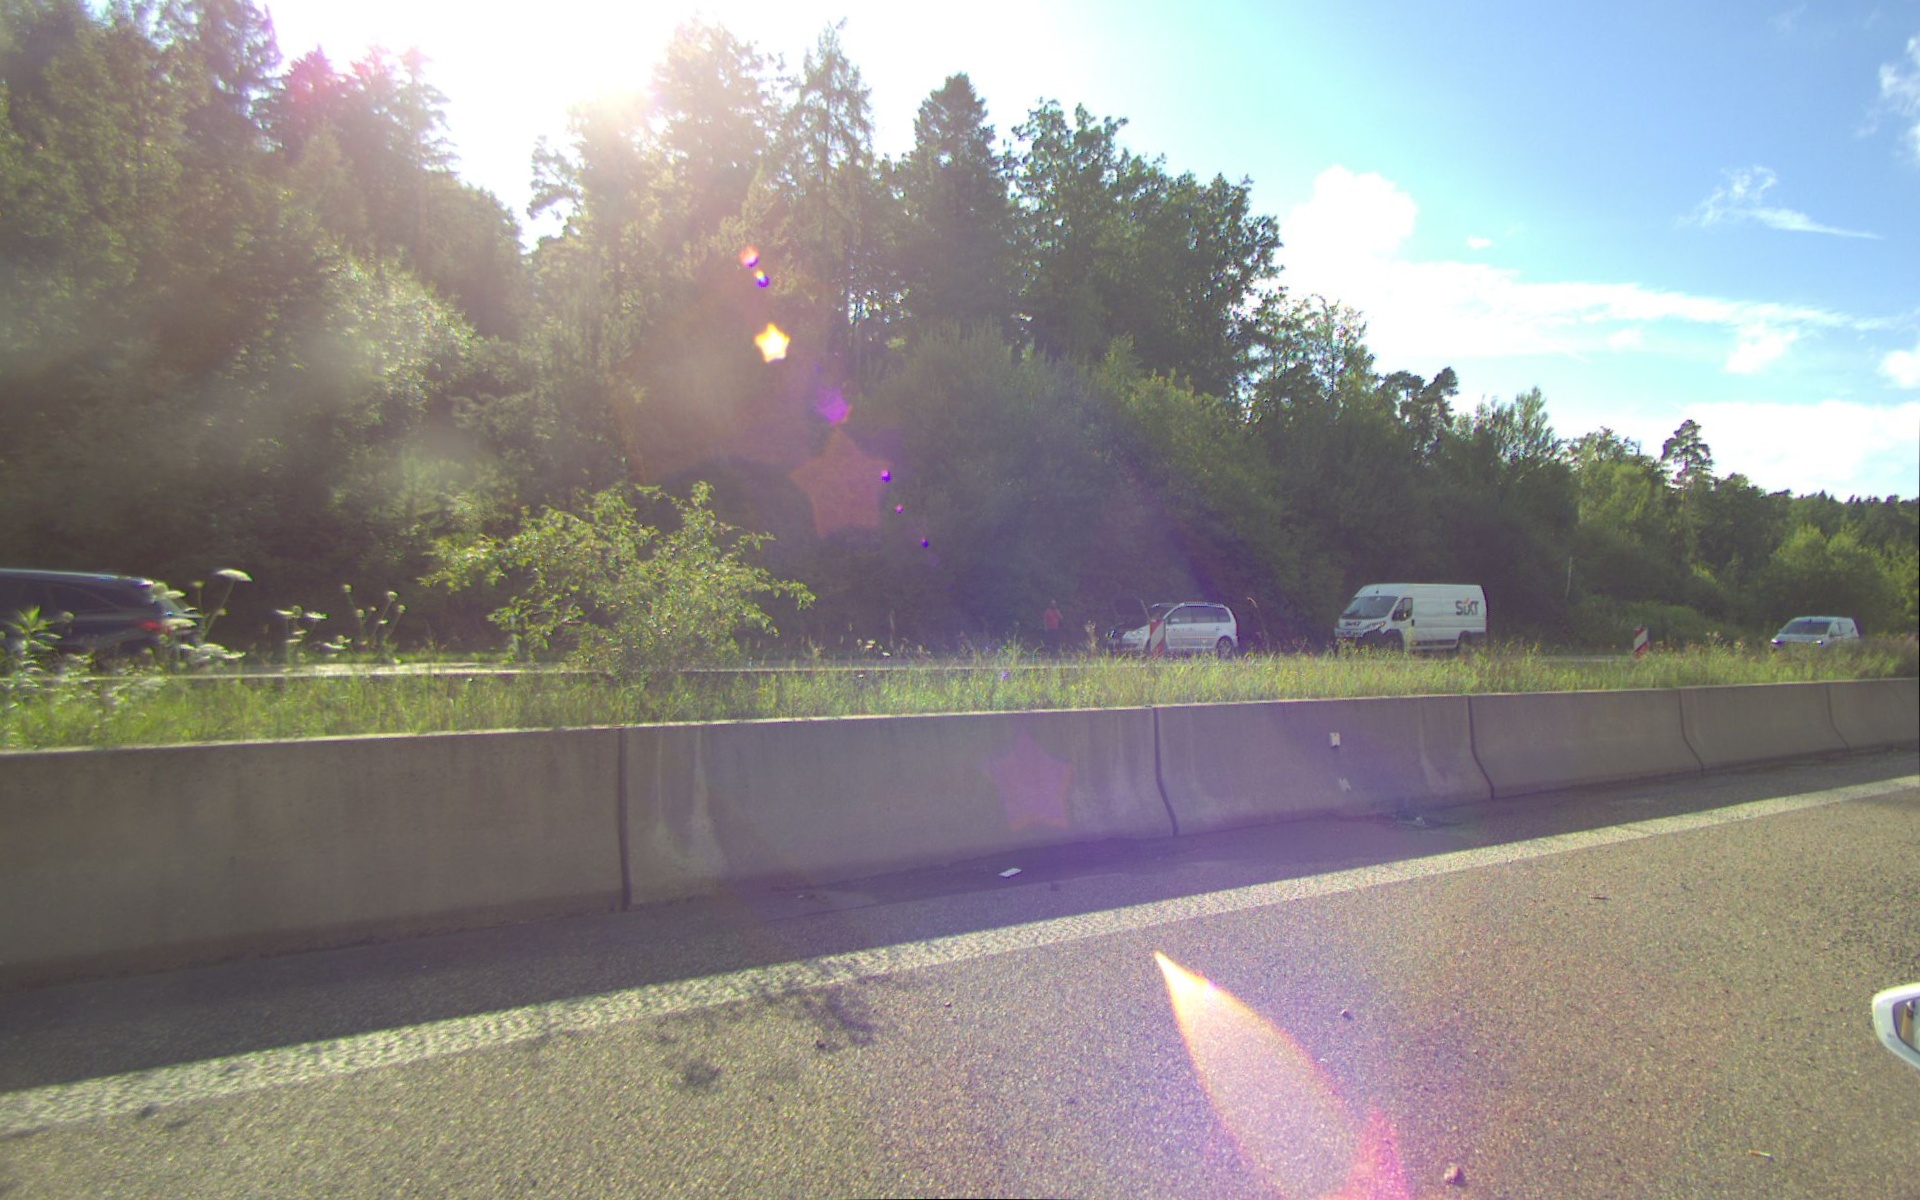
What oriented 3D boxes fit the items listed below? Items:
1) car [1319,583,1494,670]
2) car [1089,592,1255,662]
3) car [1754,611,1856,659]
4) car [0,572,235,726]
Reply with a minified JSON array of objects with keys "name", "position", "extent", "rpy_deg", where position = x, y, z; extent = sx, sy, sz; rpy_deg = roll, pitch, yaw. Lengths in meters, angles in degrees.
[{"name":"car","position":[15.188,0.908,34.023],"extent":[6.447,2.720,2.018],"rpy_deg":[2,0,-31]},{"name":"car","position":[6.227,0.802,29.366],"extent":[4.706,1.878,1.851],"rpy_deg":[2,0,-31]},{"name":"car","position":[33.899,1.404,40.272],"extent":[4.314,1.809,1.769],"rpy_deg":[2,0,-31]},{"name":"car","position":[-9.992,0.447,10.204],"extent":[4.057,1.476,1.769],"rpy_deg":[2,0,-31]}]
